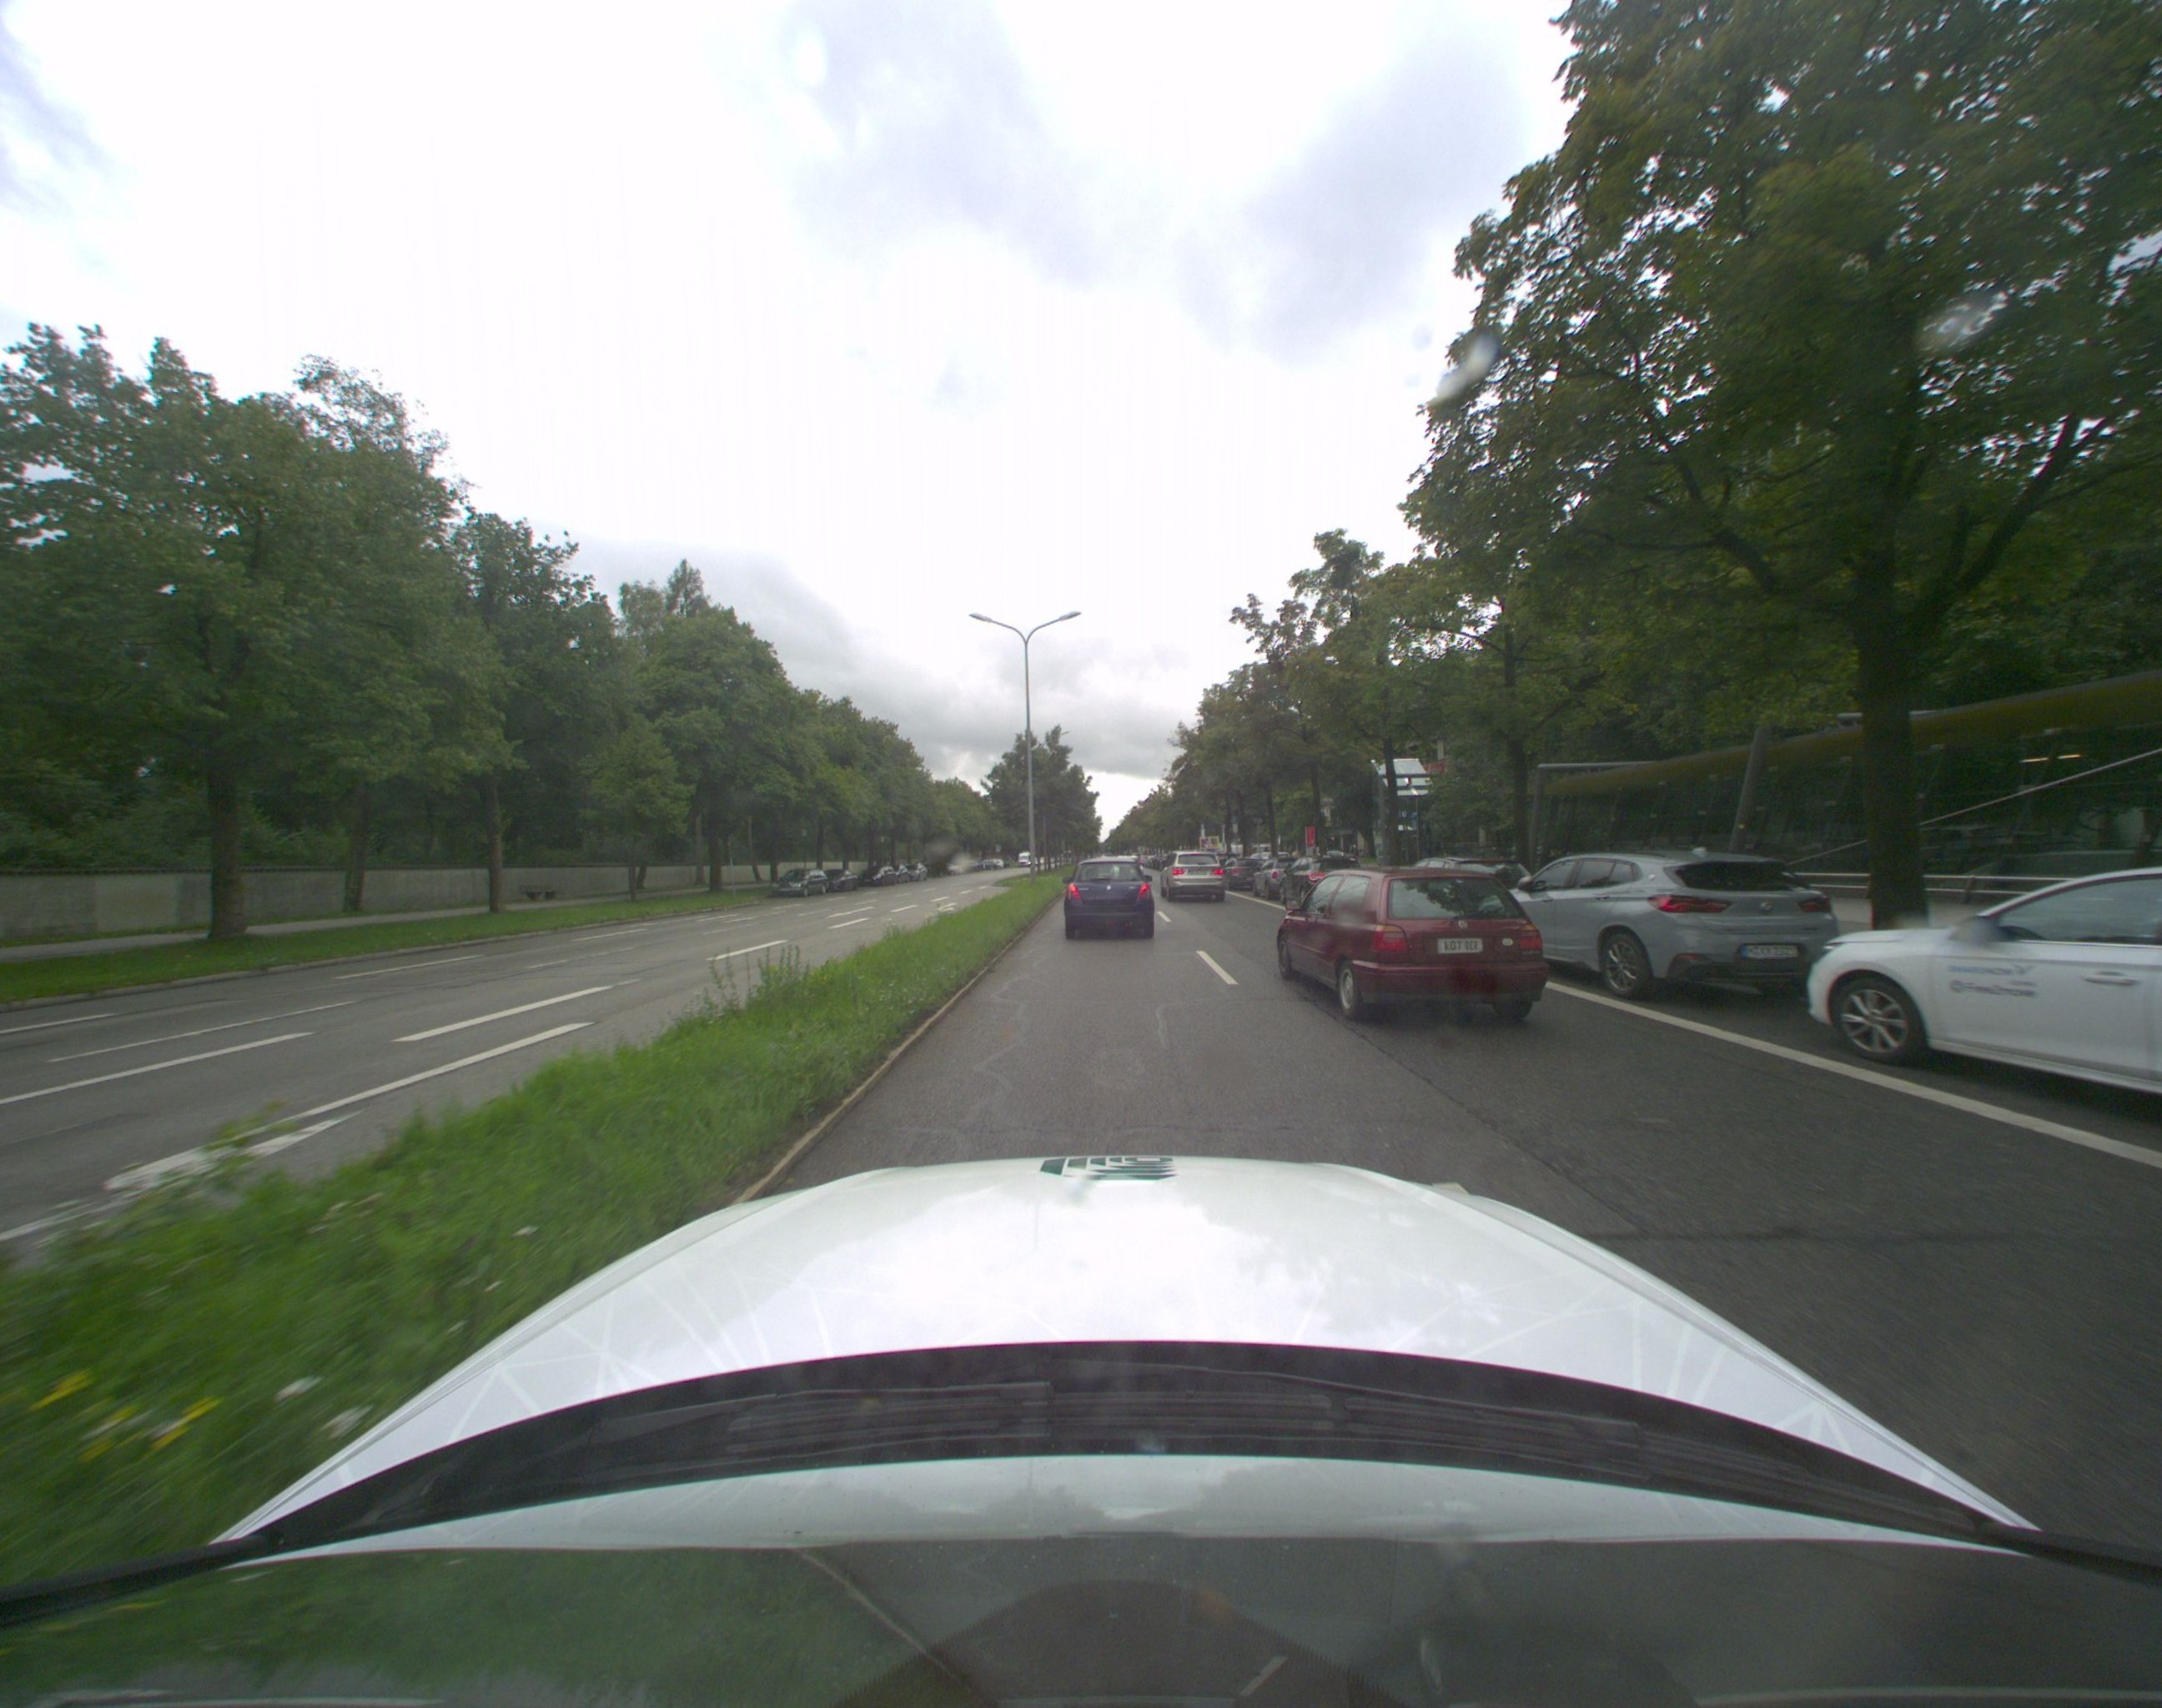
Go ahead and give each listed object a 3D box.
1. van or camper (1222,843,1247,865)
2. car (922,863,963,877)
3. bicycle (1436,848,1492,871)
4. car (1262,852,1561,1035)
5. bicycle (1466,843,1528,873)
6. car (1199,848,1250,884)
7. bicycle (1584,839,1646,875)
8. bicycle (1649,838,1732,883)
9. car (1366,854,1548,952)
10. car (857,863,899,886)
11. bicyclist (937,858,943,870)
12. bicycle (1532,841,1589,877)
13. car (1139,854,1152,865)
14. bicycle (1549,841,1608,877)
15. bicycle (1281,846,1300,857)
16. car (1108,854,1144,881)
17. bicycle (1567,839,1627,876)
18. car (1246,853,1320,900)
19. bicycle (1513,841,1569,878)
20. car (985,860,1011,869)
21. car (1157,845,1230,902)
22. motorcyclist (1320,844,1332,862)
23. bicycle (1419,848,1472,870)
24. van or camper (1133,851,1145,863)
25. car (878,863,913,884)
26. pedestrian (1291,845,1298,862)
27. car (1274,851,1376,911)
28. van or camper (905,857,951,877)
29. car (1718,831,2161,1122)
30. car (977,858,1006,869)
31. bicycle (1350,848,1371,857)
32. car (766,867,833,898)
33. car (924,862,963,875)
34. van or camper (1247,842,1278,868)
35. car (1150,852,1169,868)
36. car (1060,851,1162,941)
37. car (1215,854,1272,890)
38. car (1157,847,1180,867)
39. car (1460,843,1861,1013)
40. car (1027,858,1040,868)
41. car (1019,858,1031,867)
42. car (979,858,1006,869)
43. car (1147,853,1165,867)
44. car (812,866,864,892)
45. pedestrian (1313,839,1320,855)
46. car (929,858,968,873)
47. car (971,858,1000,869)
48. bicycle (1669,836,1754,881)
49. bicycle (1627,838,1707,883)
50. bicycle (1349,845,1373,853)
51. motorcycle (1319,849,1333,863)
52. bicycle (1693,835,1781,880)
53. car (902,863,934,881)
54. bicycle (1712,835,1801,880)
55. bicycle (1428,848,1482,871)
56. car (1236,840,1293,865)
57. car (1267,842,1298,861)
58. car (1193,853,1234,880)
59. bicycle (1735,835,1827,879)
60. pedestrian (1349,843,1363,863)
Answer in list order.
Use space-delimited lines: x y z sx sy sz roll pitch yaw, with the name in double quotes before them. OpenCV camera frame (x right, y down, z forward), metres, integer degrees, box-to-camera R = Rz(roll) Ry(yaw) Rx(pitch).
"van or camper" 19.071 -0.034 101.366 2.016 2.558 5.959 -2 0 2
"car" -14.971 1.729 88.232 4.015 1.354 1.831 -2 0 -33
"bicycle" 19.600 0.282 41.664 2.533 1.089 0.647 -2 0 1
"car" 3.156 0.740 8.679 1.616 1.454 3.950 -2 0 1
"bicycle" 19.359 0.179 37.903 2.533 1.280 0.647 -2 0 1
"car" 7.177 0.572 41.100 1.780 1.675 4.596 -2 0 1
"bicycle" 19.682 0.108 30.075 0.643 1.280 2.551 -2 0 2
"bicycle" 18.514 0.178 24.842 0.643 1.280 2.551 -2 0 2
"car" 6.642 0.776 14.895 1.536 1.534 4.091 0 0 1
"car" -14.521 1.462 58.534 1.563 1.503 4.310 0 0 5
"bicyclist" -20.420 1.476 118.167 0.702 1.747 0.923 -2 0 1
"bicycle" 17.675 0.183 30.086 0.643 1.280 2.551 -2 0 2
"car" 9.315 0.757 117.521 1.677 1.525 4.458 0 0 2
"bicycle" 18.350 0.178 30.100 0.643 1.280 2.551 -2 0 2
"bicycle" 32.096 -0.388 124.709 2.605 1.508 0.797 -2 0 -5
"car" 2.609 0.757 47.580 1.844 1.447 4.097 -2 0 0
"bicycle" 19.018 0.121 30.104 0.643 1.280 2.551 -2 0 2
"car" 6.901 0.730 28.212 1.628 1.453 4.079 -2 0 1
"bicycle" 16.960 0.205 30.123 0.643 1.280 2.551 -2 0 2
"car" -14.331 1.849 141.152 4.122 1.474 1.687 -1 -1 -32
"car" 3.726 0.612 27.625 1.844 1.743 4.097 -2 0 0
"motorcyclist" 23.934 -0.074 79.640 0.688 1.737 0.953 -6 0 1
"bicycle" 19.683 0.279 43.954 2.533 1.089 0.647 -2 0 1
"van or camper" 10.277 0.558 145.560 1.937 1.975 4.308 -2 0 2
"car" -14.500 1.496 63.986 1.581 1.459 4.799 0 0 0
"pedestrian" 22.360 -0.016 85.190 0.572 1.751 0.733 -2 0 6
"car" 6.812 0.710 23.203 1.711 1.508 4.225 -2 0 1
"van or camper" -15.360 1.333 81.781 4.146 1.854 1.829 -2 0 -39
"car" 6.439 0.644 4.872 1.697 1.508 4.501 1 0 -1
"car" -14.523 1.553 132.133 4.122 1.585 1.900 -2 0 -32
"bicycle" 30.216 -0.171 88.141 0.751 0.958 2.022 -1 0 -45
"car" -15.158 1.484 44.069 1.792 1.490 4.916 0 0 1
"car" -15.400 1.606 91.255 4.059 1.381 1.657 -2 0 -34
"van or camper" 18.830 0.069 84.788 1.986 2.558 5.959 -2 0 2
"car" 8.544 0.644 88.694 1.758 1.651 4.425 -1 0 1
"car" 0.543 0.756 16.575 1.783 1.555 3.999 -2 0 0
"car" 7.021 0.752 35.465 1.627 1.439 4.305 -2 0 1
"car" 8.103 0.288 75.965 1.755 1.701 4.822 -2 0 2
"car" 6.357 0.688 9.697 1.714 1.534 4.400 -1 0 1
"car" -7.873 1.418 135.133 1.907 1.542 4.187 -2 0 0
"car" -10.277 1.609 149.764 1.907 1.542 4.187 -2 0 0
"car" -14.661 1.532 135.160 4.122 1.652 1.900 -2 0 -32
"car" 8.644 0.715 94.464 1.758 1.546 4.425 -1 0 1
"car" -14.861 1.507 49.962 1.653 1.396 4.708 0 0 1
"pedestrian" 25.124 -0.758 86.852 0.572 1.751 0.733 -2 0 6
"car" -15.750 1.407 96.818 4.127 1.597 1.897 -2 0 -38
"car" -15.051 1.505 128.504 4.122 1.695 1.900 -2 0 -32
"bicycle" 19.104 0.135 24.751 0.643 1.280 2.551 -2 0 2
"bicycle" 17.776 0.188 24.796 0.643 1.280 2.551 -2 0 2
"bicycle" 30.656 -0.526 89.258 0.776 0.870 2.373 -1 0 -45
"motorcycle" 23.974 0.158 79.801 0.693 1.290 2.067 -6 0 1
"bicycle" 19.868 0.101 24.752 0.643 1.280 2.551 -2 0 2
"car" -14.119 1.561 70.673 1.629 1.439 4.812 0 0 3
"bicycle" 20.620 0.095 24.940 0.643 1.280 2.551 -2 0 2
"bicycle" 19.625 0.282 42.735 2.533 1.089 0.647 -2 0 1
"car" 13.143 -0.123 58.203 1.948 1.625 4.877 -2 -1 39
"car" 18.822 -0.221 76.181 1.986 1.651 4.002 -2 0 2
"car" 7.514 0.688 46.624 1.648 1.434 4.483 -2 0 1
"bicycle" 21.320 0.089 24.901 0.643 1.280 2.551 -2 0 2
"pedestrian" 24.415 -0.112 72.249 0.825 1.721 0.940 -4 0 1
